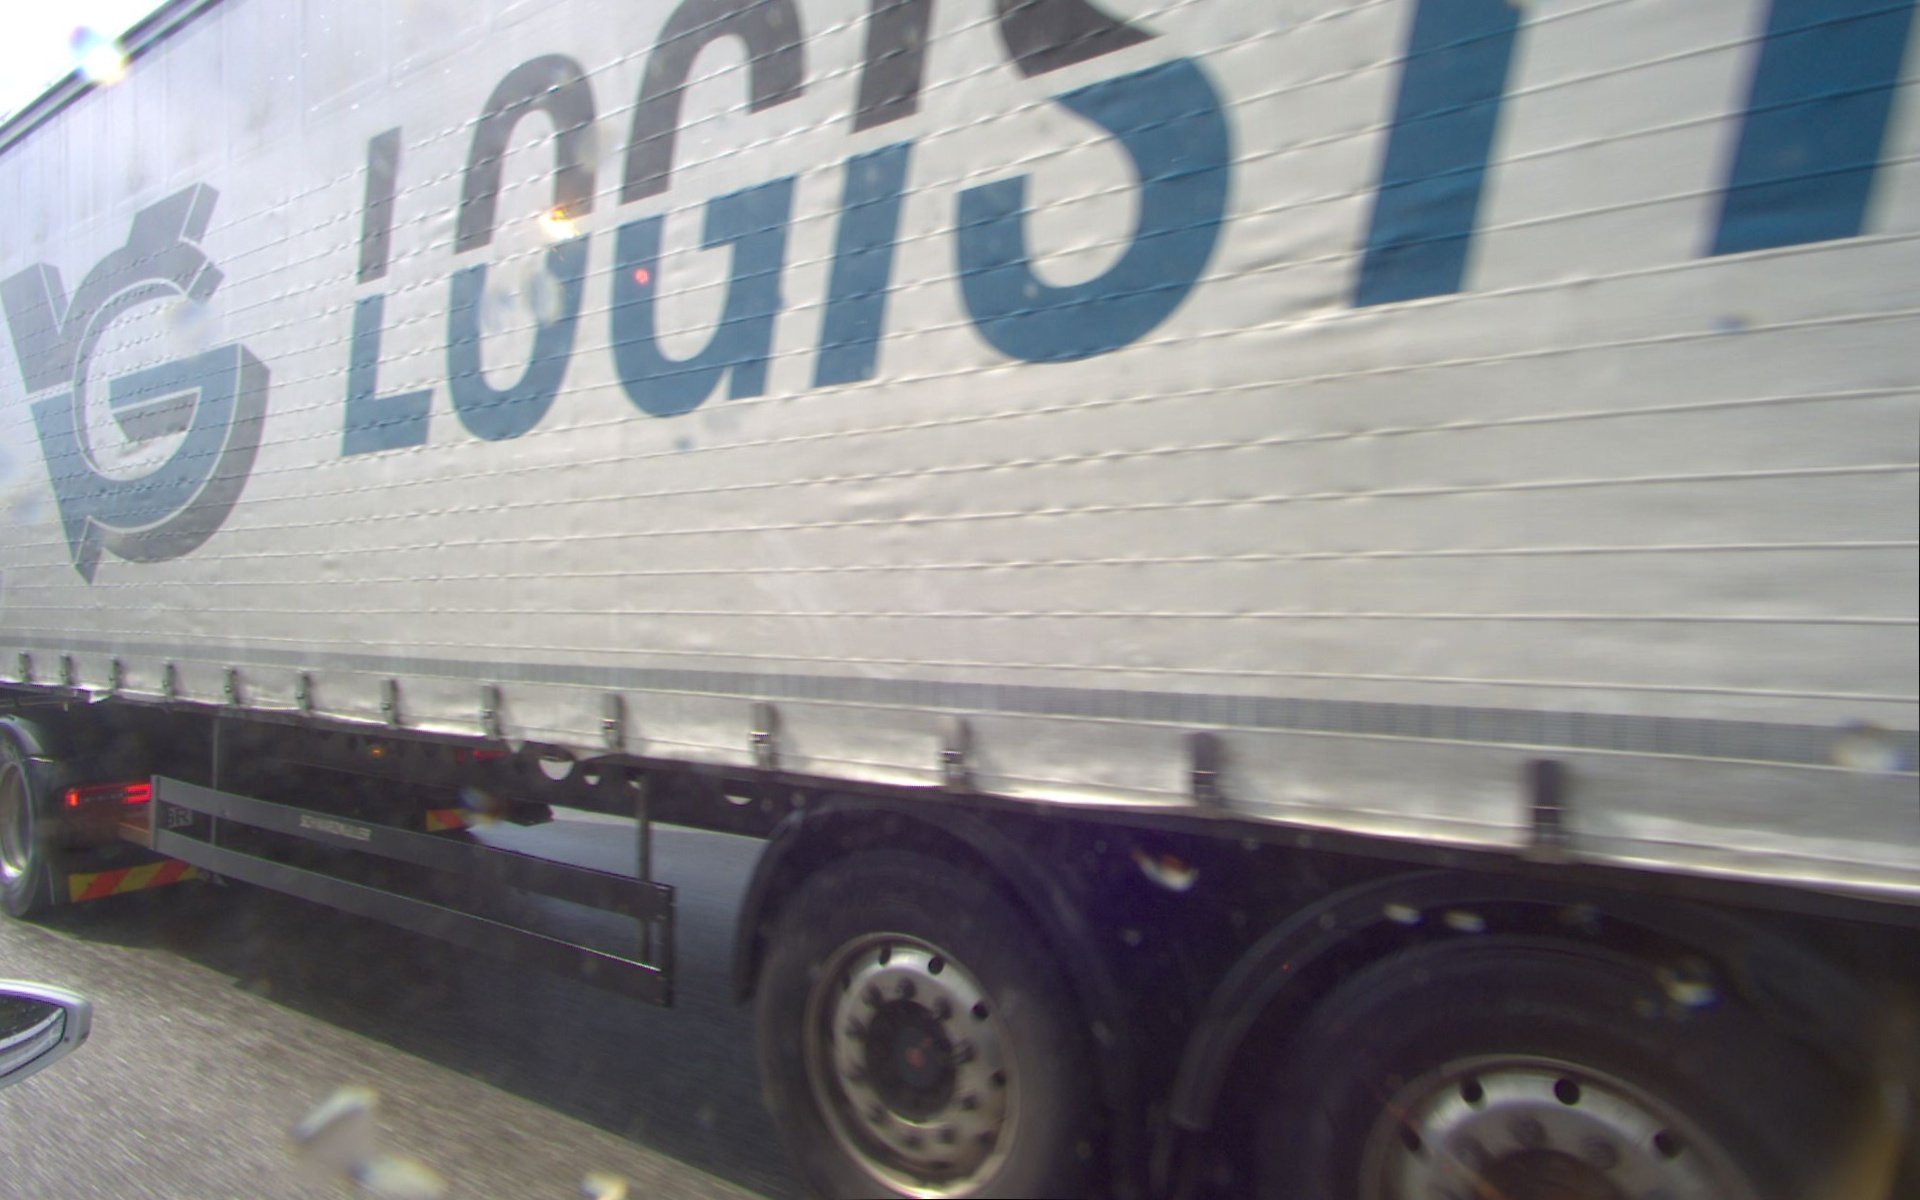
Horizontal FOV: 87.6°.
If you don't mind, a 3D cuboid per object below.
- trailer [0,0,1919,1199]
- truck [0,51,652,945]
[{"bbox_3d":[0.168,-0.437,3.774,13.922,3.948,3.279,-1,-2,32],"label":"trailer"},{"bbox_3d":[-5.762,-0.375,7.471,6.303,3.941,3.280,-1,-1,31],"label":"truck"}]
